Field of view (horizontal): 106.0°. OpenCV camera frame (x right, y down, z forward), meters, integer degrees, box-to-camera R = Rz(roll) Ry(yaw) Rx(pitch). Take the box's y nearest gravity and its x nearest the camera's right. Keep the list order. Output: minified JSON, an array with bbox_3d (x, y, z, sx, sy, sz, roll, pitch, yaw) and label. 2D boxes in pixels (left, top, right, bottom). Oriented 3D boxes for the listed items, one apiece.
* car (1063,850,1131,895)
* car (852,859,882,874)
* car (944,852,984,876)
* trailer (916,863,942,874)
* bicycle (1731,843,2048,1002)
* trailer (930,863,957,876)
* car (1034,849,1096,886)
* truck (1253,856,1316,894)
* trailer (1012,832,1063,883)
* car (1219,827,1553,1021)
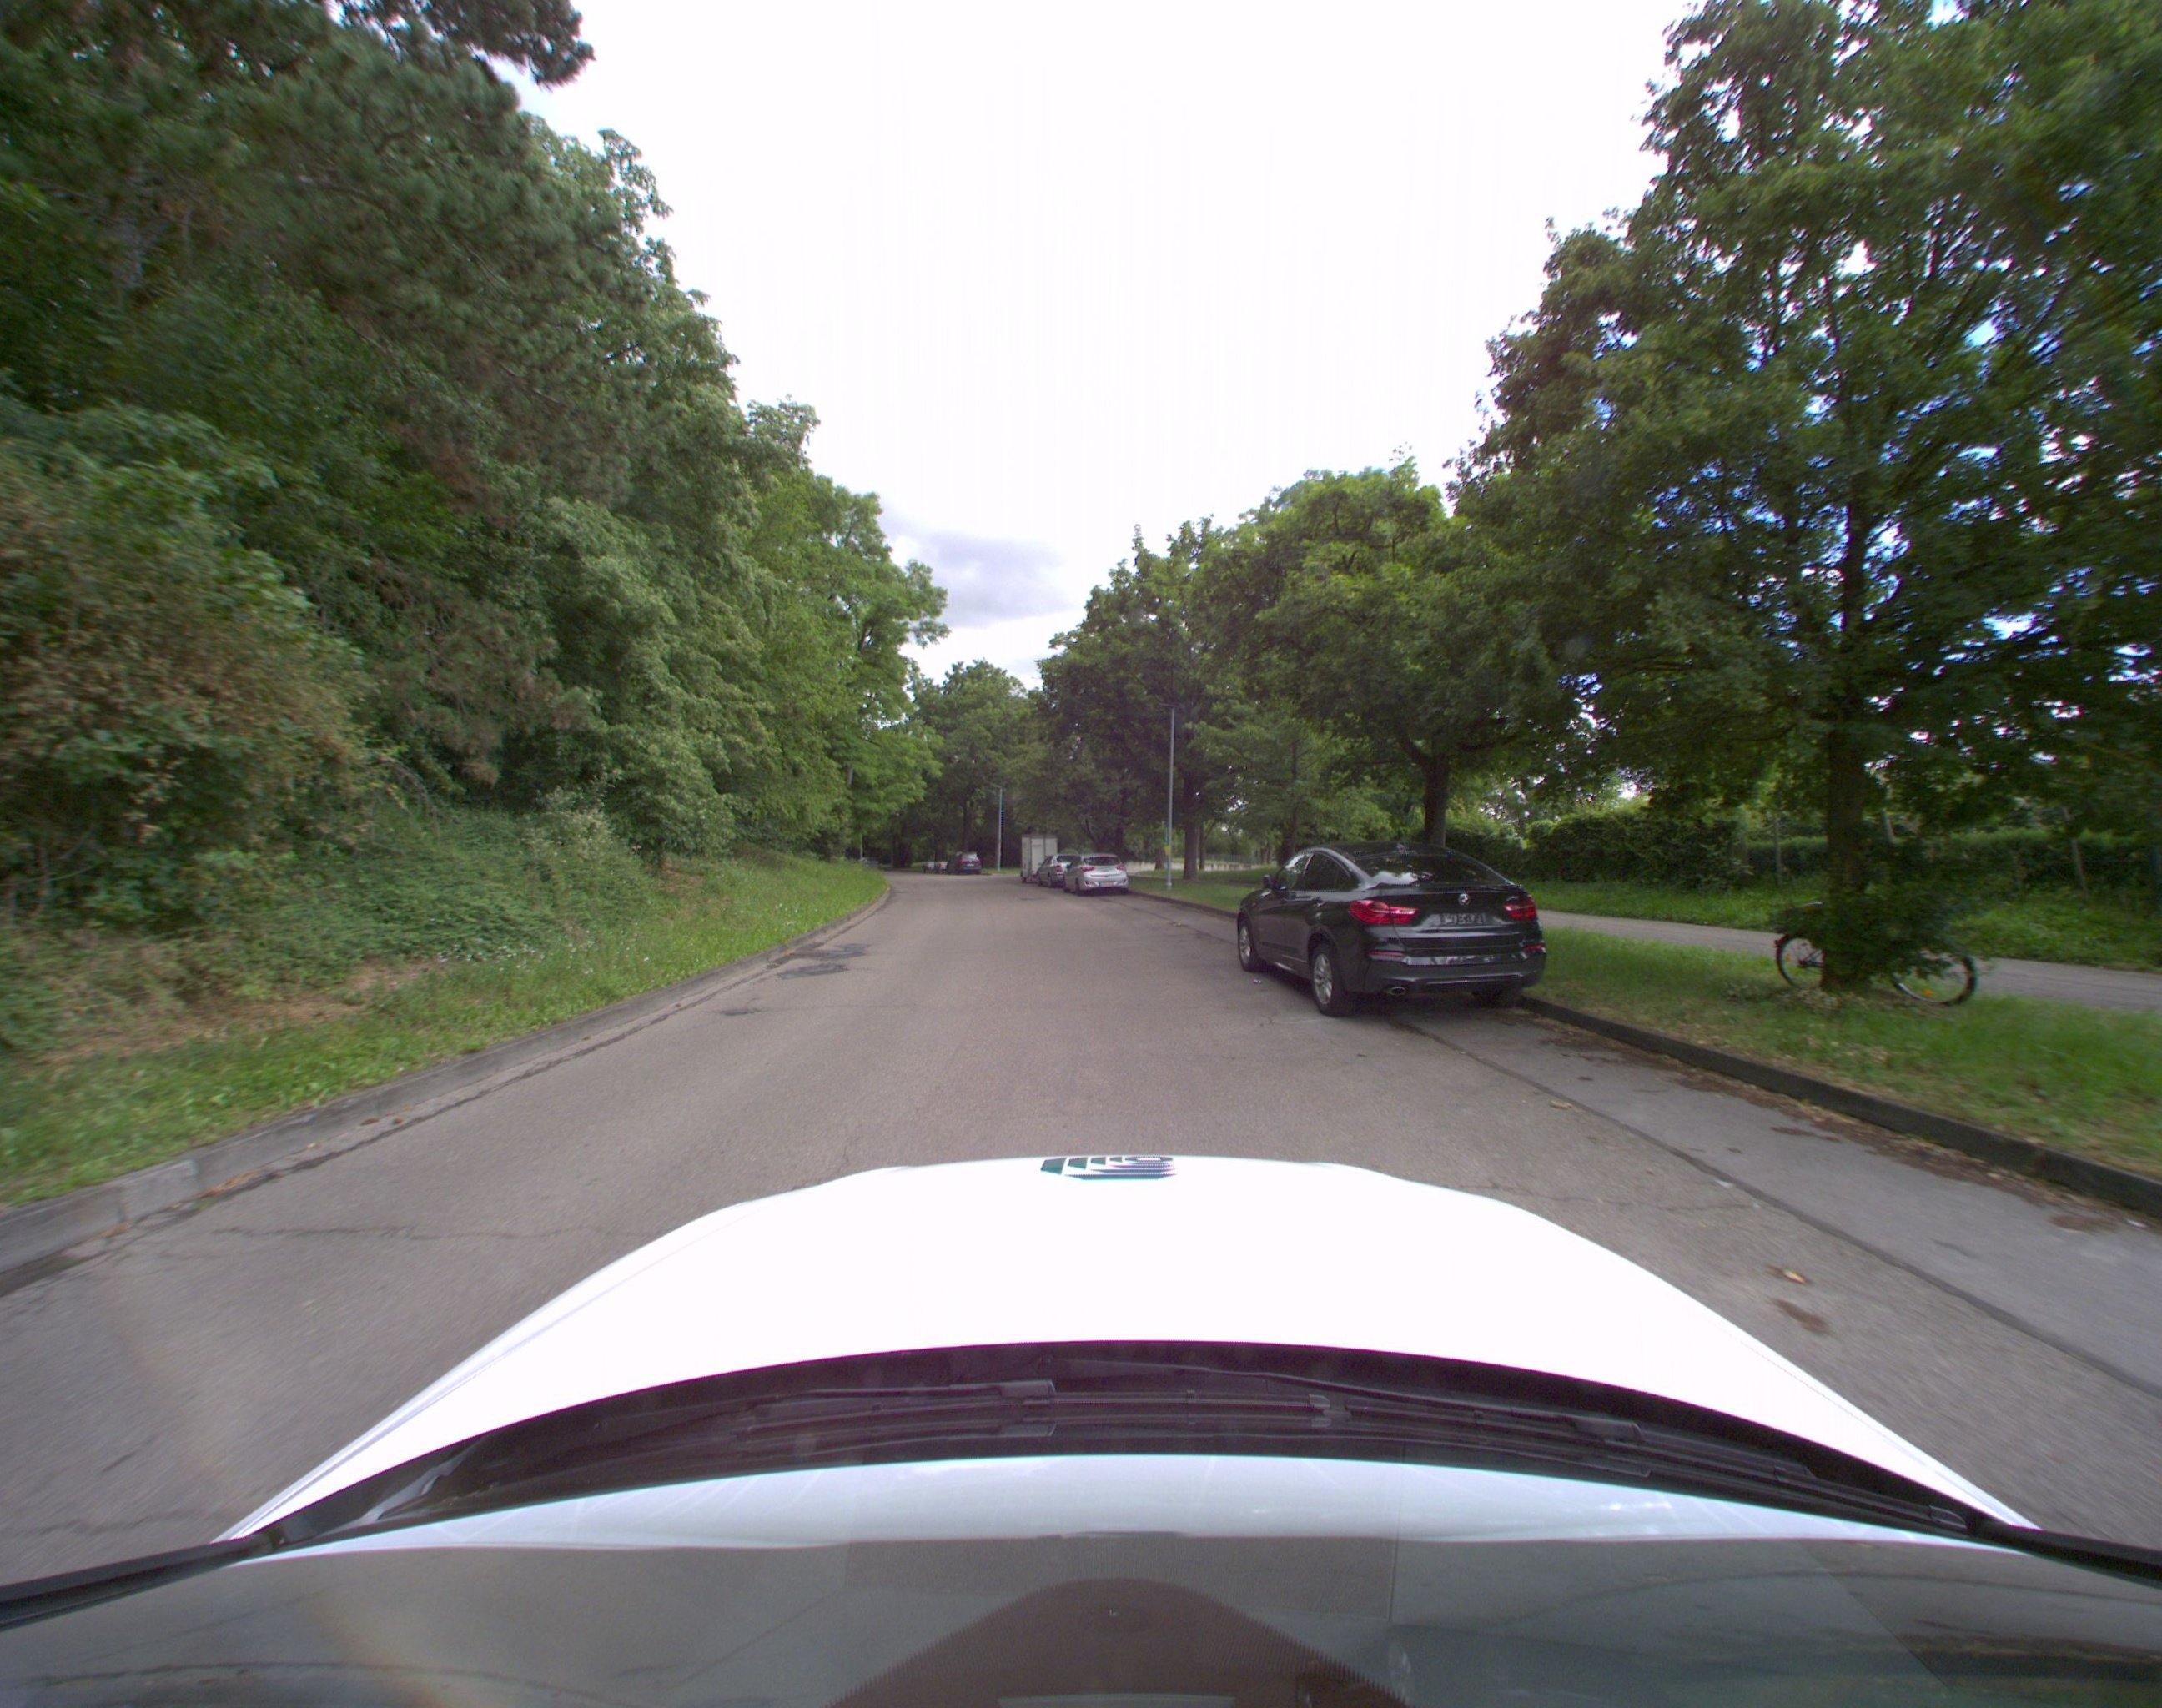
[{"bbox_3d":[0.515,0.711,29.574,1.901,1.477,4.048,1,-3,-7],"label":"car"},{"bbox_3d":[-22.220,1.300,84.429,1.730,1.431,3.906,-1,-1,-35],"label":"car"},{"bbox_3d":[-8.580,0.768,59.409,1.783,1.663,4.803,1,-2,-23],"label":"car"},{"bbox_3d":[-12.952,1.263,69.295,1.370,0.848,3.250,2,-3,-26],"label":"trailer"},{"bbox_3d":[7.064,0.571,7.329,0.533,1.216,2.180,1,-3,-5],"label":"bicycle"},{"bbox_3d":[-10.963,1.213,64.970,1.362,0.969,3.865,2,-1,-21],"label":"trailer"},{"bbox_3d":[-0.791,0.593,36.173,1.744,1.525,4.612,-1,-1,-15],"label":"car"},{"bbox_3d":[22.843,2.476,91.050,2.663,3.998,9.629,-2,-3,41],"label":"truck"},{"bbox_3d":[-2.262,0.167,41.365,1.764,2.427,3.866,-1,0,-15],"label":"trailer"},{"bbox_3d":[3.033,0.606,9.300,1.845,1.643,4.523,-1,0,-4],"label":"car"}]
